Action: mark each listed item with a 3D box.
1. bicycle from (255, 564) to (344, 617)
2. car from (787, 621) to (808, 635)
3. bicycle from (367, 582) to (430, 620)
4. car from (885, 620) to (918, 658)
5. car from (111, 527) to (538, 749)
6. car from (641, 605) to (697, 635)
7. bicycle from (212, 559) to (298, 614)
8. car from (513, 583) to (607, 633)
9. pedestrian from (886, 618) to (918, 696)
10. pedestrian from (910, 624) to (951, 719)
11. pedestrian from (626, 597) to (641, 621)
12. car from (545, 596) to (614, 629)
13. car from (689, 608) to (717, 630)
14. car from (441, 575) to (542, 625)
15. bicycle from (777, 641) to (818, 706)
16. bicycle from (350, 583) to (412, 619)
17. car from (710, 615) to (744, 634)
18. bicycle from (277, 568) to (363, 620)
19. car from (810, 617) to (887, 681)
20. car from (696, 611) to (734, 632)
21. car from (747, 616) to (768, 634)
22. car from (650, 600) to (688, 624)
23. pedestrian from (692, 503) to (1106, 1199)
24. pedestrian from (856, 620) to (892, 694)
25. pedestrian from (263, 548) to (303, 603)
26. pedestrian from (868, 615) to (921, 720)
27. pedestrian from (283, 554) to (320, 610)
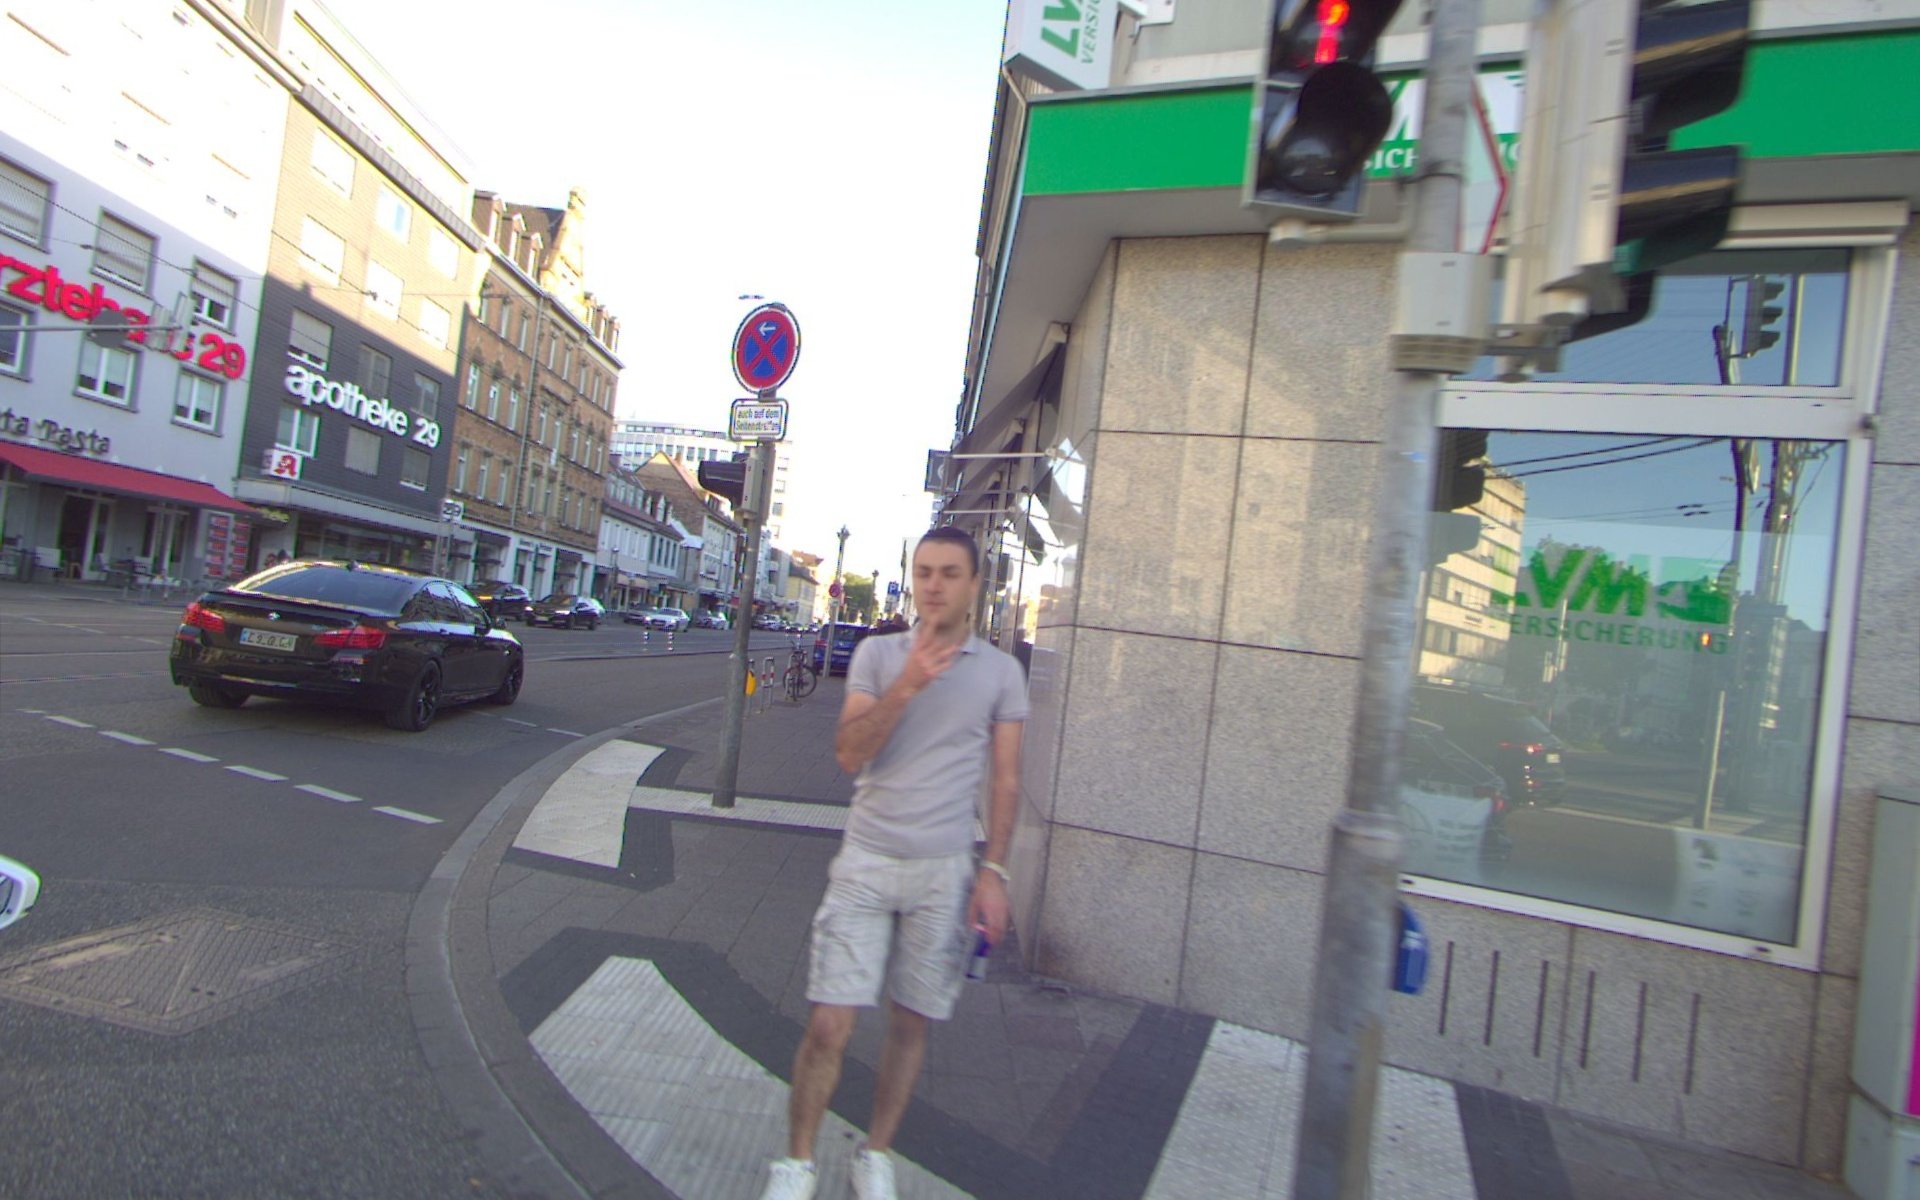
[{"bbox_3d":[-19.741,-0.269,30.087,2.081,1.237,0.553,9,-1,-1],"label":"bicycle"},{"bbox_3d":[-19.567,3.423,121.361,1.964,1.469,4.650,7,-2,-4],"label":"car"},{"bbox_3d":[-19.945,0.033,35.753,1.804,1.059,0.489,10,0,-1],"label":"bicycle"},{"bbox_3d":[-4.260,2.918,74.591,2.061,2.483,6.035,6,-2,-2],"label":"car"},{"bbox_3d":[-5.974,0.395,10.258,1.928,1.514,4.462,8,-3,-9],"label":"car"},{"bbox_3d":[-17.483,1.270,60.739,1.963,1.469,4.659,7,-2,-1],"label":"car"},{"bbox_3d":[-19.892,-0.365,28.398,1.863,1.224,0.553,9,-1,-1],"label":"bicycle"},{"bbox_3d":[-16.750,0.406,42.437,1.963,1.747,4.731,5,-2,0],"label":"car"},{"bbox_3d":[-1.531,1.497,26.555,0.651,1.950,0.879,6,-1,-3],"label":"pedestrian"},{"bbox_3d":[-0.556,1.365,19.286,0.639,1.739,0.679,5,-1,-1],"label":"pedestrian"},{"bbox_3d":[-23.383,0.653,72.037,0.652,1.663,0.694,7,-1,-1],"label":"pedestrian"},{"bbox_3d":[-20.676,0.719,54.880,1.840,1.469,4.614,7,-2,0],"label":"car"},{"bbox_3d":[-21.157,1.591,82.966,1.454,1.595,2.797,7,-2,-1],"label":"car"},{"bbox_3d":[-20.013,0.057,43.197,1.901,1.693,4.649,8,-2,1],"label":"car"},{"bbox_3d":[-3.168,1.413,19.707,0.525,1.160,1.491,6,-2,-3],"label":"bicycle"},{"bbox_3d":[-20.104,0.039,34.944,1.779,0.923,0.456,10,0,-1],"label":"bicycle"},{"bbox_3d":[-21.425,2.280,92.675,1.963,1.469,4.333,7,-2,0],"label":"car"},{"bbox_3d":[-19.730,-0.182,31.038,2.081,1.237,0.553,10,-2,-1],"label":"bicycle"},{"bbox_3d":[-3.600,1.595,33.212,1.963,1.747,4.579,7,-2,-1],"label":"car"},{"bbox_3d":[-21.359,1.910,87.866,1.963,1.469,4.825,7,-2,0],"label":"car"},{"bbox_3d":[-22.936,2.840,114.093,1.839,1.704,4.000,8,-3,-6],"label":"car"},{"bbox_3d":[-21.141,0.908,73.156,1.574,1.456,3.816,6,-3,-1],"label":"car"},{"bbox_3d":[-0.123,0.702,2.608,0.681,1.763,0.654,6,-1,21],"label":"pedestrian"},{"bbox_3d":[-2.250,1.479,26.392,0.726,1.850,0.851,6,-1,-3],"label":"pedestrian"},{"bbox_3d":[-22.112,-0.804,32.846,0.672,1.680,0.624,7,-1,-2],"label":"pedestrian"},{"bbox_3d":[-1.199,1.241,18.663,0.754,1.827,0.928,5,-1,0],"label":"pedestrian"},{"bbox_3d":[-21.488,-0.589,32.821,0.611,1.719,0.602,7,-1,-2],"label":"pedestrian"}]
